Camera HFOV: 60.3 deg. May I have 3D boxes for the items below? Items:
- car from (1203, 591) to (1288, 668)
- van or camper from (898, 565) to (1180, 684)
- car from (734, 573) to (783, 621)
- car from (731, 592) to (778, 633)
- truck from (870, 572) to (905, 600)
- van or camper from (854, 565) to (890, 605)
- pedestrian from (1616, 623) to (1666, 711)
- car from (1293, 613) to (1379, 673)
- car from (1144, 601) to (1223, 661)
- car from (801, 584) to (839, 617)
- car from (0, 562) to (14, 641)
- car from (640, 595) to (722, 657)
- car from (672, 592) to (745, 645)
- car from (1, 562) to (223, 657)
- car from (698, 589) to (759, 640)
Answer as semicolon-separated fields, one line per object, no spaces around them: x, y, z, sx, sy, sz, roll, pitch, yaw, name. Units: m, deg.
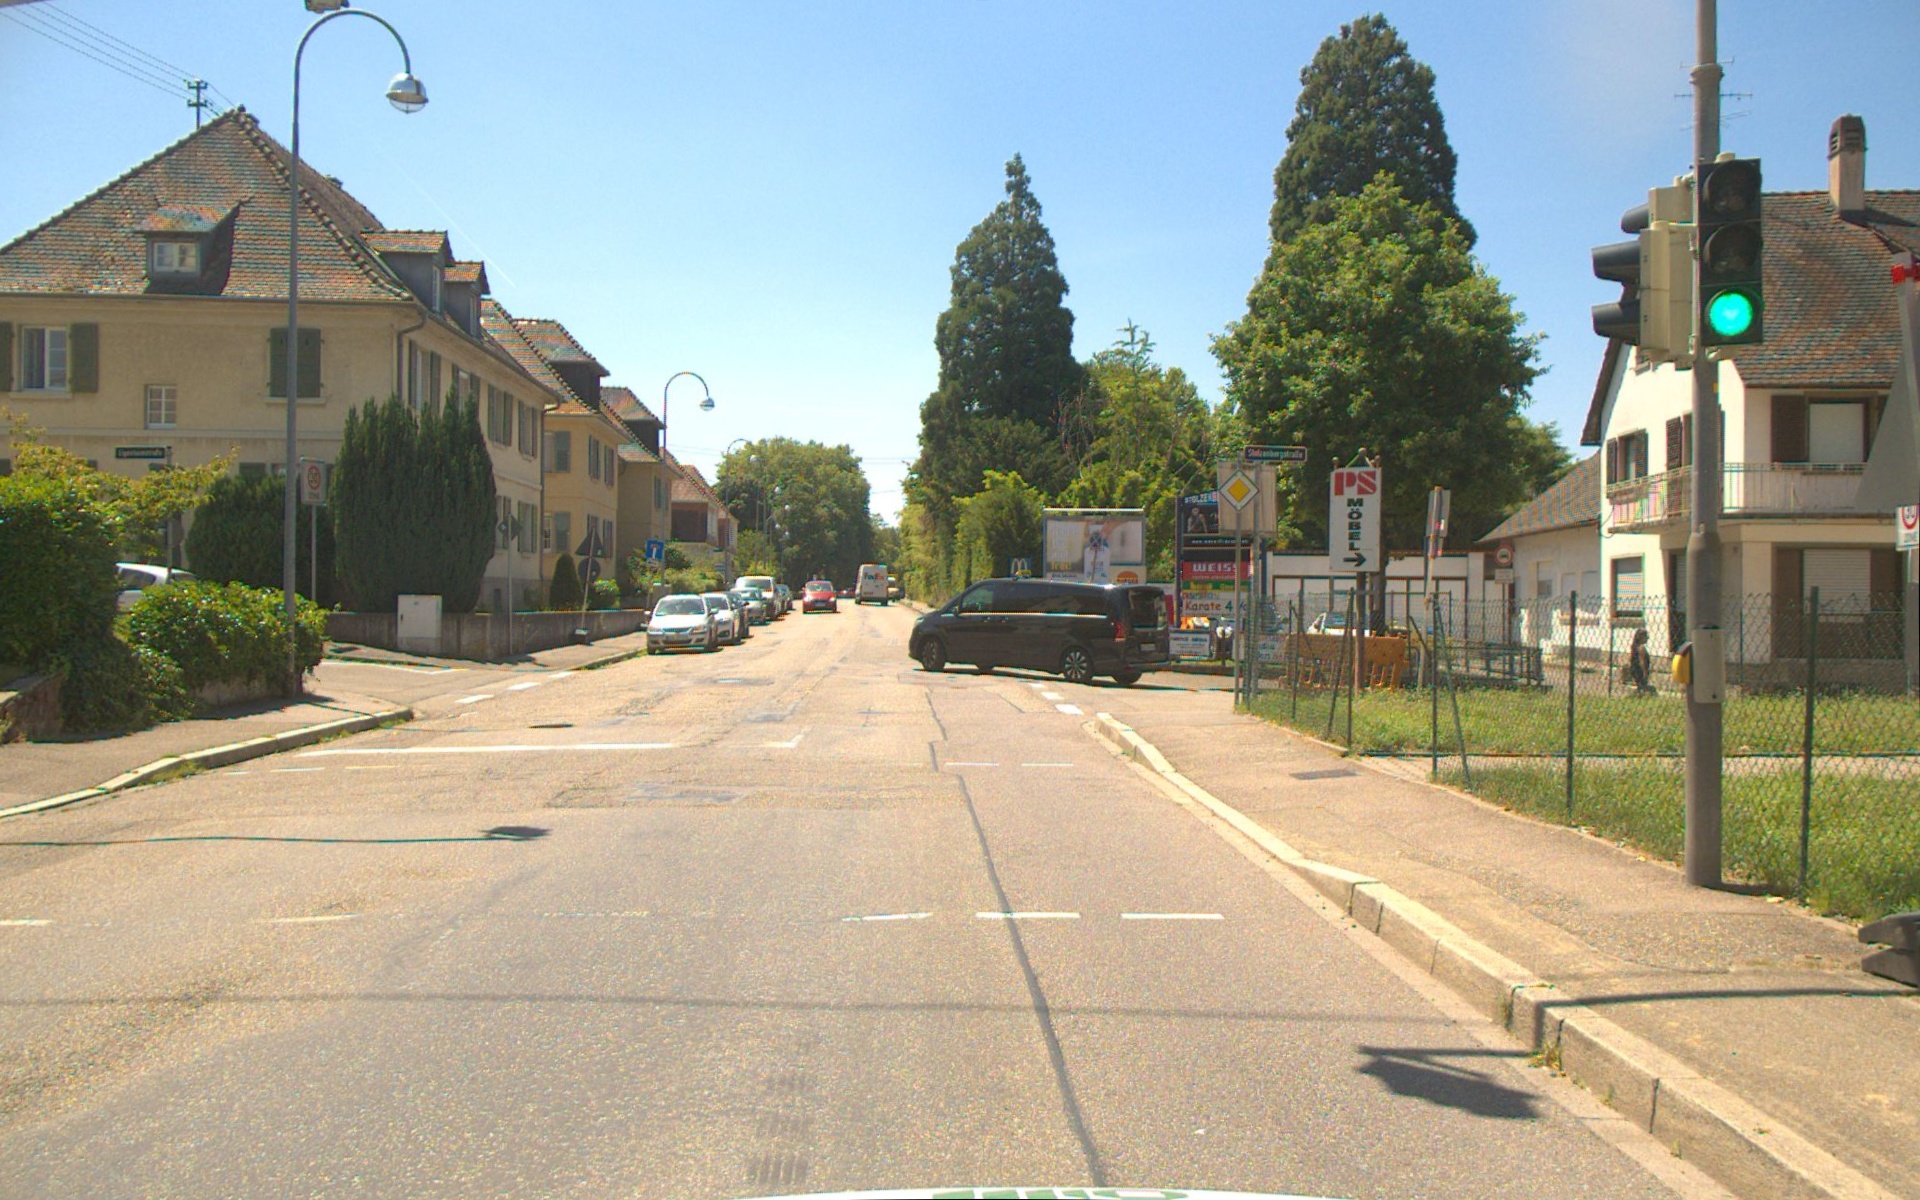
6.857;0.674;40.026;1.675;1.694;4.463;2;0;6;car
1.428;0.405;31.349;5.166;2.049;1.901;1;0;37;van or camper
-8.951;-0.167;73.769;1.841;1.997;4.622;-2;1;-4;car
-8.201;0.477;66.342;1.653;1.552;4.059;1;1;-4;car
-5.981;-1.129;135.526;2.311;2.298;6.082;0;0;-7;truck
-5.830;-0.992;108.911;2.218;2.572;4.755;-1;0;-5;van or camper
12.782;1.253;31.038;0.681;1.628;0.572;0;0;-3;pedestrian
8.951;1.002;39.609;1.675;1.292;3.387;1;0;7;car
7.596;1.016;56.550;1.740;1.831;4.162;4;0;-4;car
-6.998;0.027;82.771;1.778;1.593;3.694;-1;0;-3;car
-19.814;-0.079;30.633;3.506;1.482;1.749;4;-1;3;car
-7.159;0.633;42.798;1.725;1.473;3.921;-1;0;-5;car
-7.190;0.495;47.648;1.759;1.426;4.215;-1;0;-5;car
-15.771;0.186;30.861;3.136;1.482;1.735;5;-1;3;car
-7.350;0.430;52.780;1.682;1.511;4.072;-2;0;-5;car
